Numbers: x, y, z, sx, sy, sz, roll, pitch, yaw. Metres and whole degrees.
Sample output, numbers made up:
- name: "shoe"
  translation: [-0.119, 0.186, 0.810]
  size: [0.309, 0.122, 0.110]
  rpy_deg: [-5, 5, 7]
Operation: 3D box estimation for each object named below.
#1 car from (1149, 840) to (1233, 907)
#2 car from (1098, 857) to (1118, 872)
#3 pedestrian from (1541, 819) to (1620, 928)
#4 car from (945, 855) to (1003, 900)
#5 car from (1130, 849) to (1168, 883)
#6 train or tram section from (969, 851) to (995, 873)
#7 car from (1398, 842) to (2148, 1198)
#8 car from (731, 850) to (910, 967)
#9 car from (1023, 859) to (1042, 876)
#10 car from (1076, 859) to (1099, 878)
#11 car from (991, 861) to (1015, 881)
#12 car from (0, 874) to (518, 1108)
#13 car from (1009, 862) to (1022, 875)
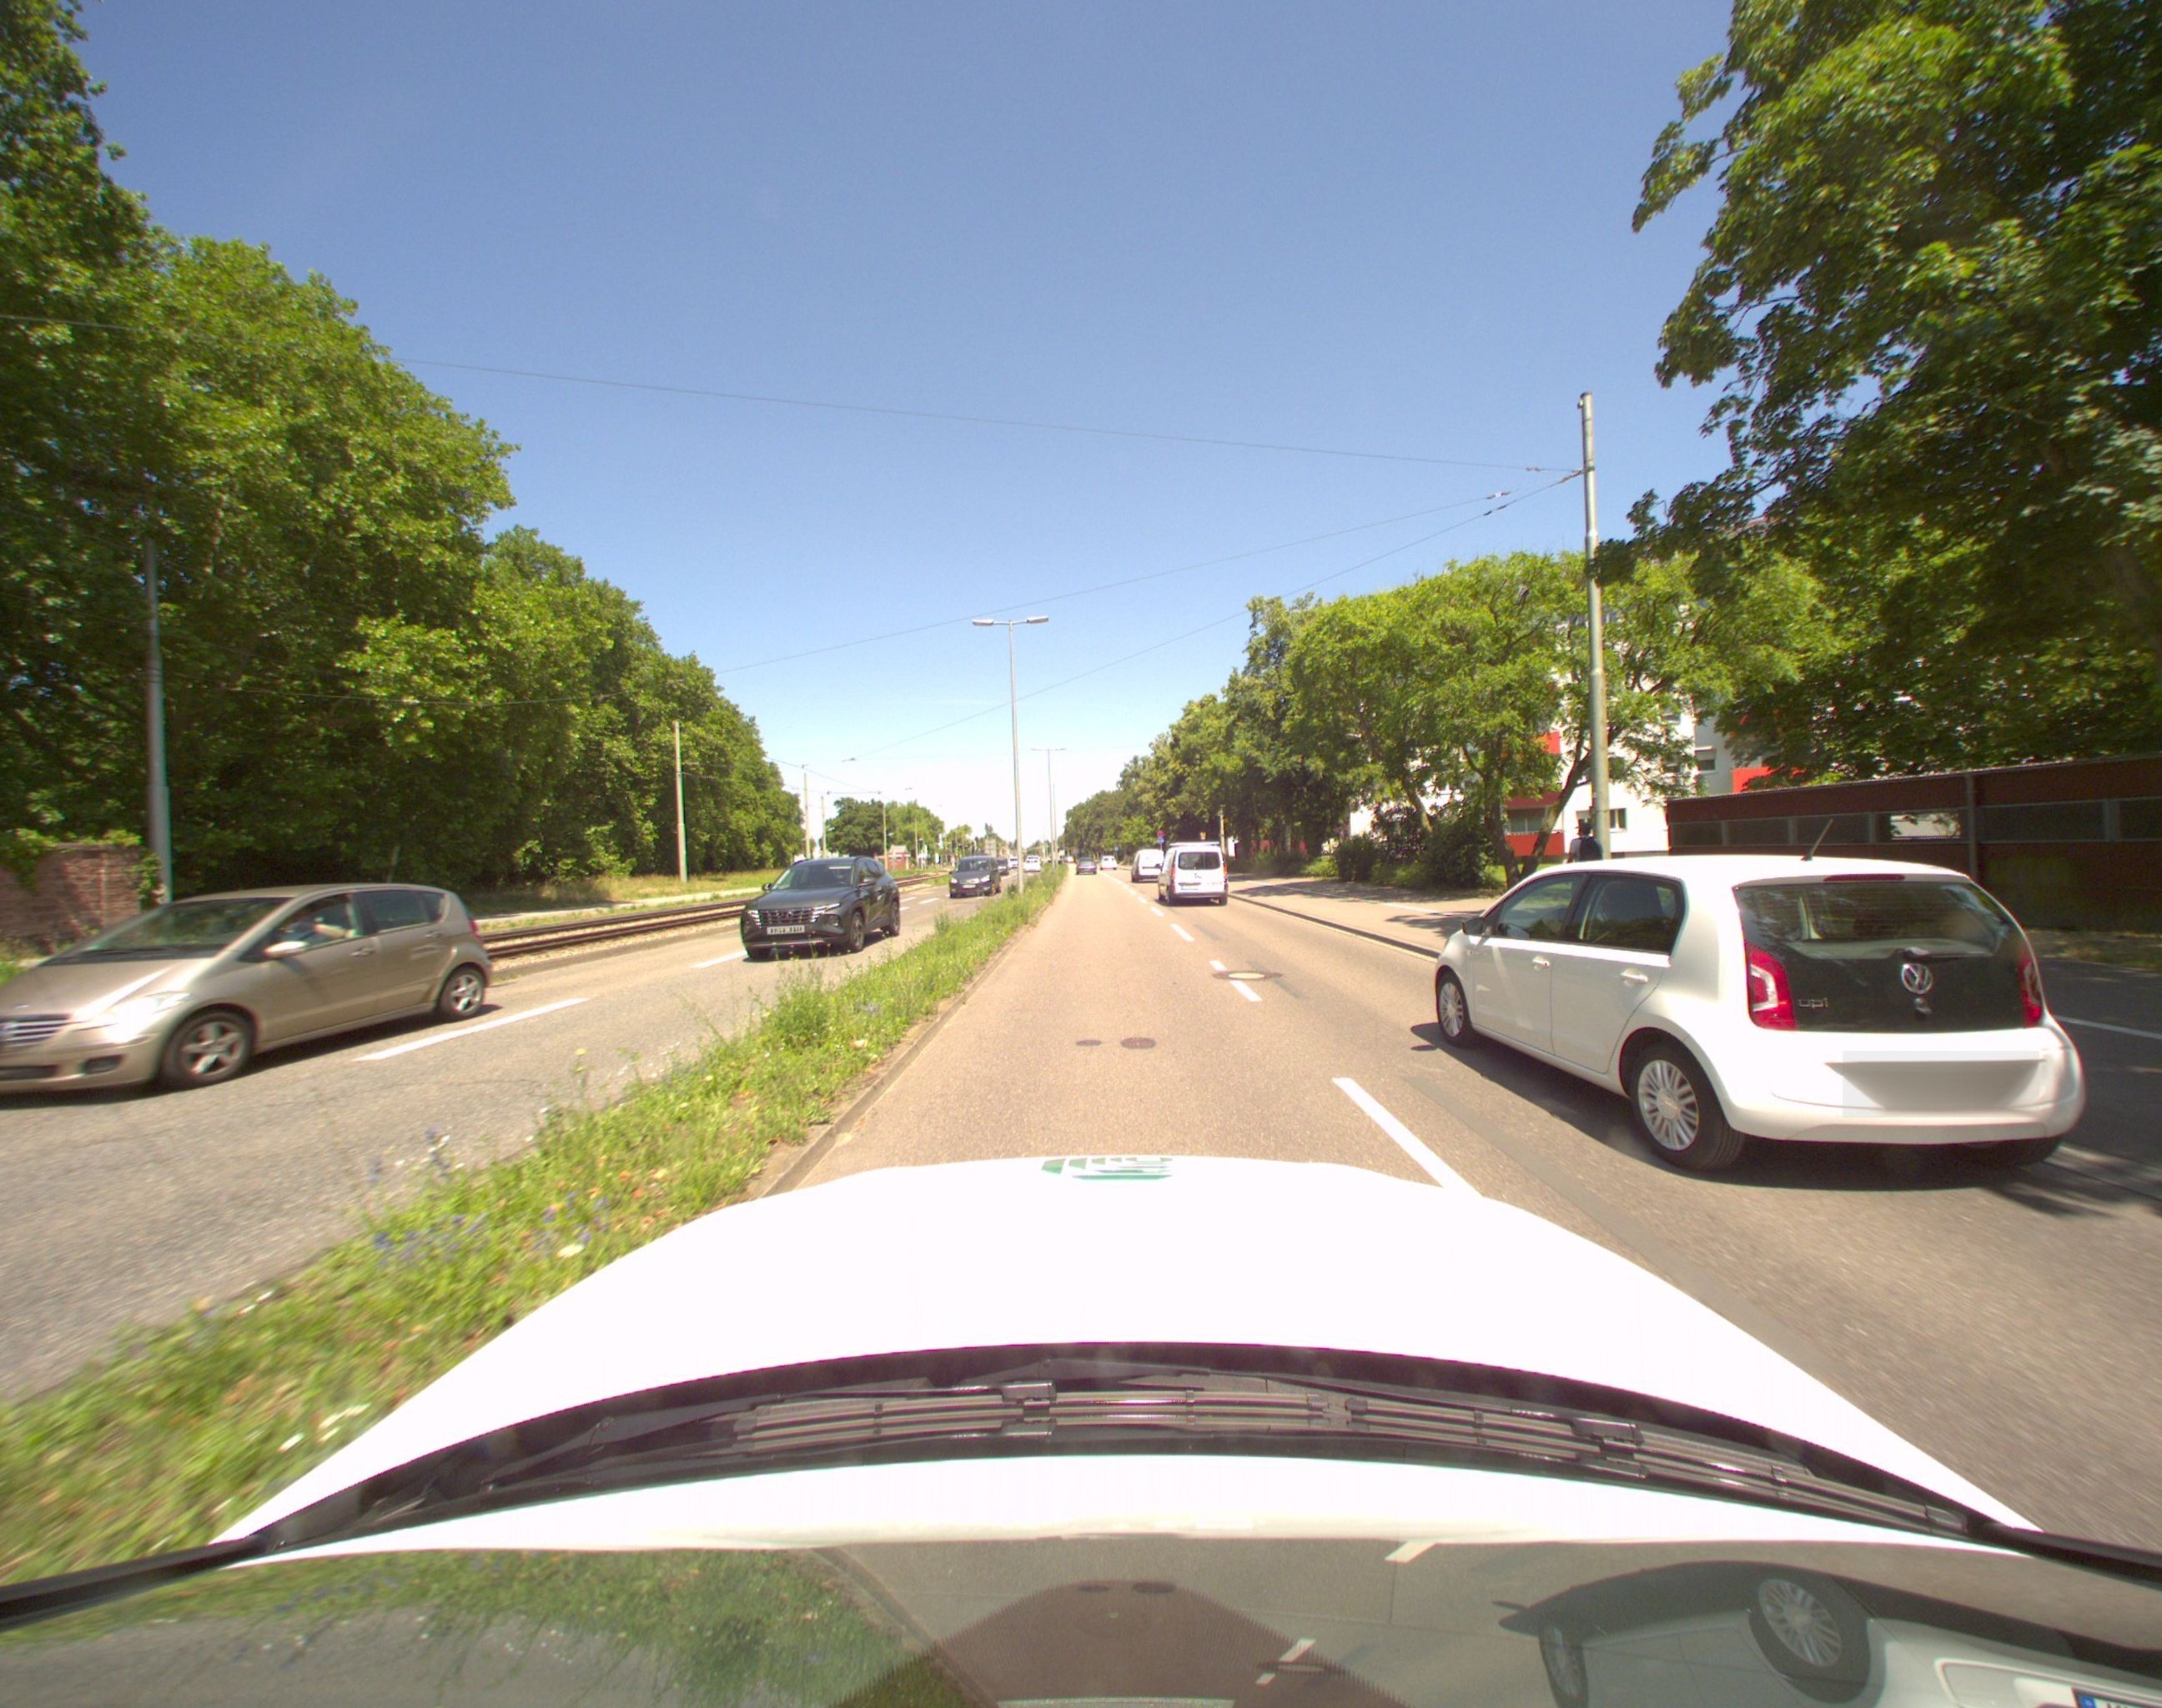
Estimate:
- name: "car"
  translation: [3.336, 0.577, 25.576]
  size: [1.820, 1.882, 4.450]
  rpy_deg: [-1, -1, -3]
- name: "car"
  translation: [2.948, 1.152, 90.671]
  size: [1.800, 1.540, 3.993]
  rpy_deg: [-2, -1, -5]
- name: "pedestrian"
  translation: [7.902, 0.303, 12.914]
  size: [0.666, 1.644, 0.856]
  rpy_deg: [-2, -1, 0]
- name: "car"
  translation: [-4.549, 0.979, 35.286]
  size: [1.823, 1.713, 4.792]
  rpy_deg: [-3, 0, -1]
- name: "car"
  translation: [3.764, 0.638, 45.461]
  size: [1.722, 1.814, 3.999]
  rpy_deg: [-1, 0, 0]
- name: "train or tram section"
  translation: [-18.916, 1.710, 157.741]
  size: [2.782, 3.668, 37.463]
  rpy_deg: [-2, -1, -4]
- name: "car"
  translation: [3.619, 0.707, 5.312]
  size: [1.653, 1.449, 3.855]
  rpy_deg: [-1, -1, 1]
- name: "car"
  translation: [-4.618, 0.882, 15.211]
  size: [1.823, 1.756, 4.487]
  rpy_deg: [-3, 0, -1]
- name: "car"
  translation: [-5.452, 1.524, 92.093]
  size: [1.824, 1.738, 4.037]
  rpy_deg: [-4, 0, 0]
- name: "car"
  translation: [0.534, 1.185, 69.073]
  size: [1.797, 1.486, 3.997]
  rpy_deg: [-1, 0, -2]
- name: "car"
  translation: [-7.695, 1.654, 80.857]
  size: [1.824, 1.801, 4.614]
  rpy_deg: [-4, 0, 0]
- name: "car"
  translation: [-7.739, 1.078, 7.921]
  size: [1.824, 1.585, 3.770]
  rpy_deg: [-3, 0, -1]
- name: "car"
  translation: [-10.912, 2.467, 136.551]
  size: [1.884, 2.017, 5.077]
  rpy_deg: [-4, 0, -2]
